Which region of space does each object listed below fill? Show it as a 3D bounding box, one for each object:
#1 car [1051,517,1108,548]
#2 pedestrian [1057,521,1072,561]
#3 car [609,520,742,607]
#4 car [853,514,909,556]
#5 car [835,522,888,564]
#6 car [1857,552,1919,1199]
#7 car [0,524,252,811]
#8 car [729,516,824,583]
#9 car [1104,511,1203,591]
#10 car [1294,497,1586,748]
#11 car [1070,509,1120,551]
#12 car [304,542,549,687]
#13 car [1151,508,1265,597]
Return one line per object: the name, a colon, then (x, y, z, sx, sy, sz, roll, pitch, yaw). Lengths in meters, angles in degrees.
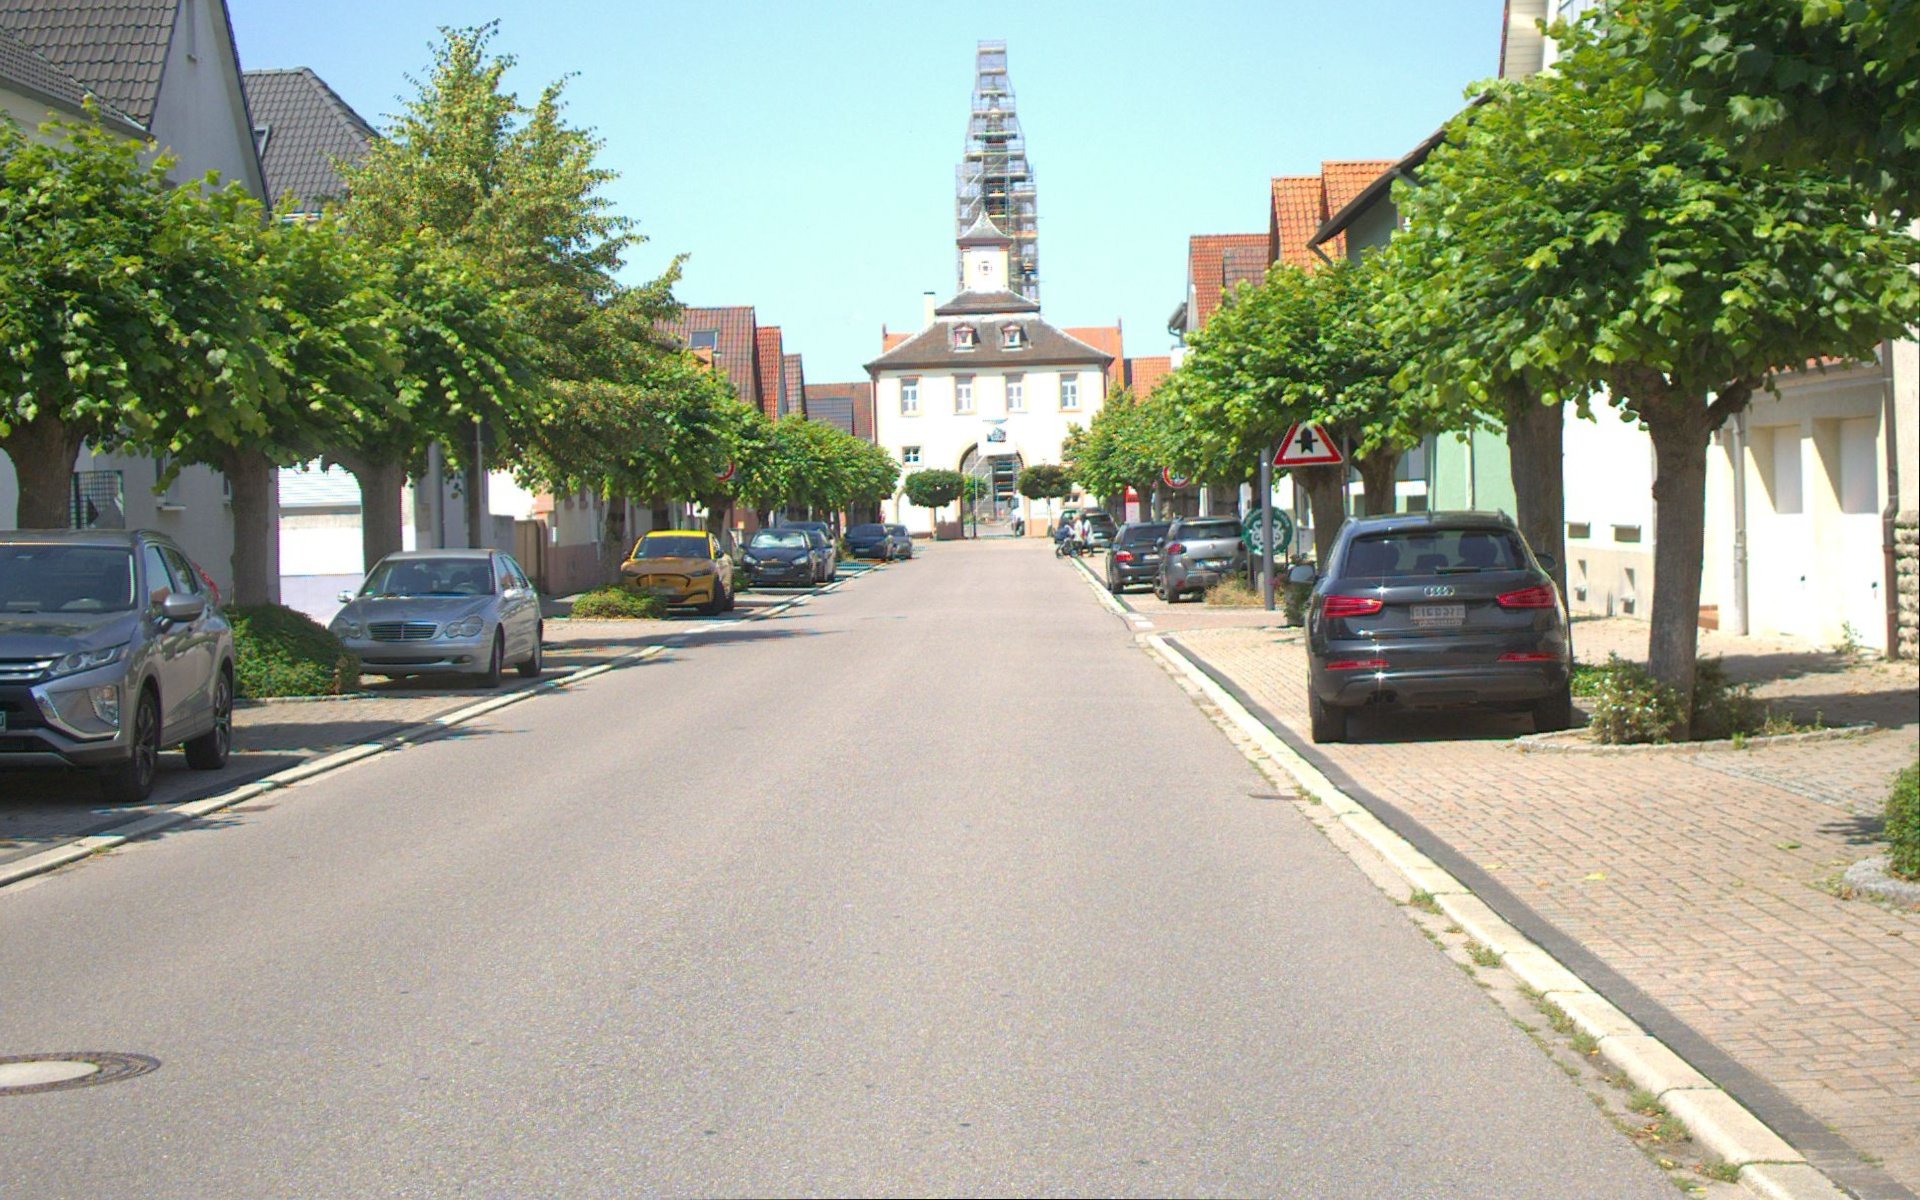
car: (6.063, -3.402, 173.560, 1.732, 1.542, 3.451, 1, 1, 23)
pedestrian: (3.727, -2.110, 122.661, 0.358, 1.398, 0.319, -1, 1, 39)
car: (-5.416, -0.737, 66.021, 1.993, 1.606, 4.689, 0, 1, 2)
car: (-3.121, -2.566, 136.280, 1.993, 1.606, 3.855, 0, 1, 2)
car: (-3.731, -2.178, 130.558, 1.757, 1.550, 4.020, -1, 1, 2)
car: (2.474, 0.637, 3.931, 1.824, 1.427, 4.057, -3, 2, 1)
car: (-5.881, 0.342, 21.931, 1.993, 1.647, 4.368, 0, 1, -2)
car: (-4.636, -1.310, 87.510, 1.993, 1.606, 4.689, -1, 2, 2)
car: (4.069, -1.062, 73.015, 1.837, 1.550, 4.314, -3, 1, 1)
car: (3.409, 0.094, 25.039, 1.824, 1.580, 4.056, -3, 2, 5)
car: (5.321, -2.766, 135.975, 1.837, 1.550, 4.314, -3, 1, 2)
car: (-5.553, 0.112, 36.295, 1.840, 1.391, 4.406, -1, 1, 1)
car: (4.702, -0.922, 65.510, 1.837, 1.602, 4.000, -1, 1, 0)
